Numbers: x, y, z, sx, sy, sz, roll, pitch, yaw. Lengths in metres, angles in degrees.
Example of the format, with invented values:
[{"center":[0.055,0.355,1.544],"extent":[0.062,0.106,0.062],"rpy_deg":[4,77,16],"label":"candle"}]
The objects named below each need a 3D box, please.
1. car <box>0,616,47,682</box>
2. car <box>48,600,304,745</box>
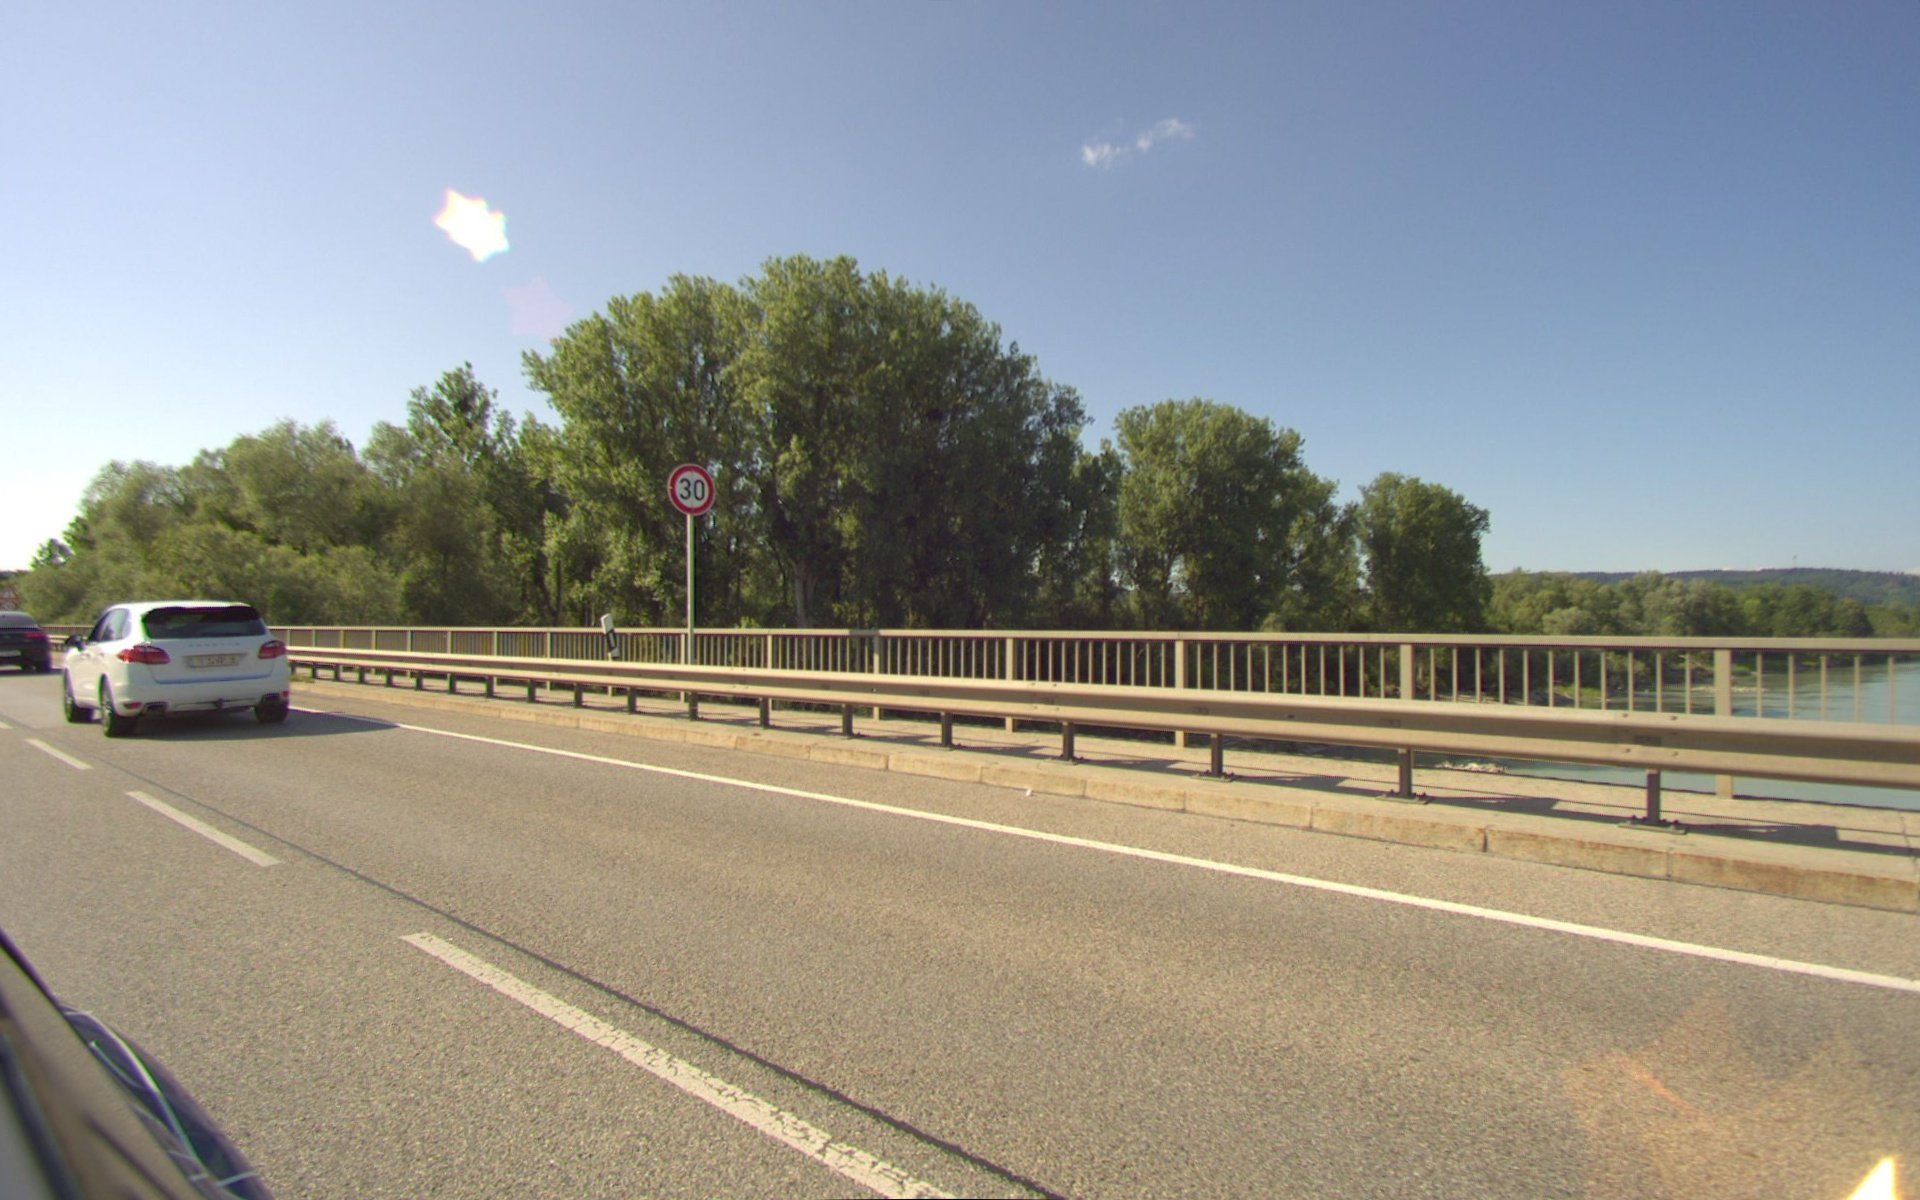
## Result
[{"center":[-27.141,1.355,28.242],"extent":[4.474,1.706,1.929],"rpy_deg":[-2,0,41],"label":"car"},{"center":[-10.989,0.898,14.061],"extent":[4.595,1.664,1.963],"rpy_deg":[-2,-1,41],"label":"car"}]
